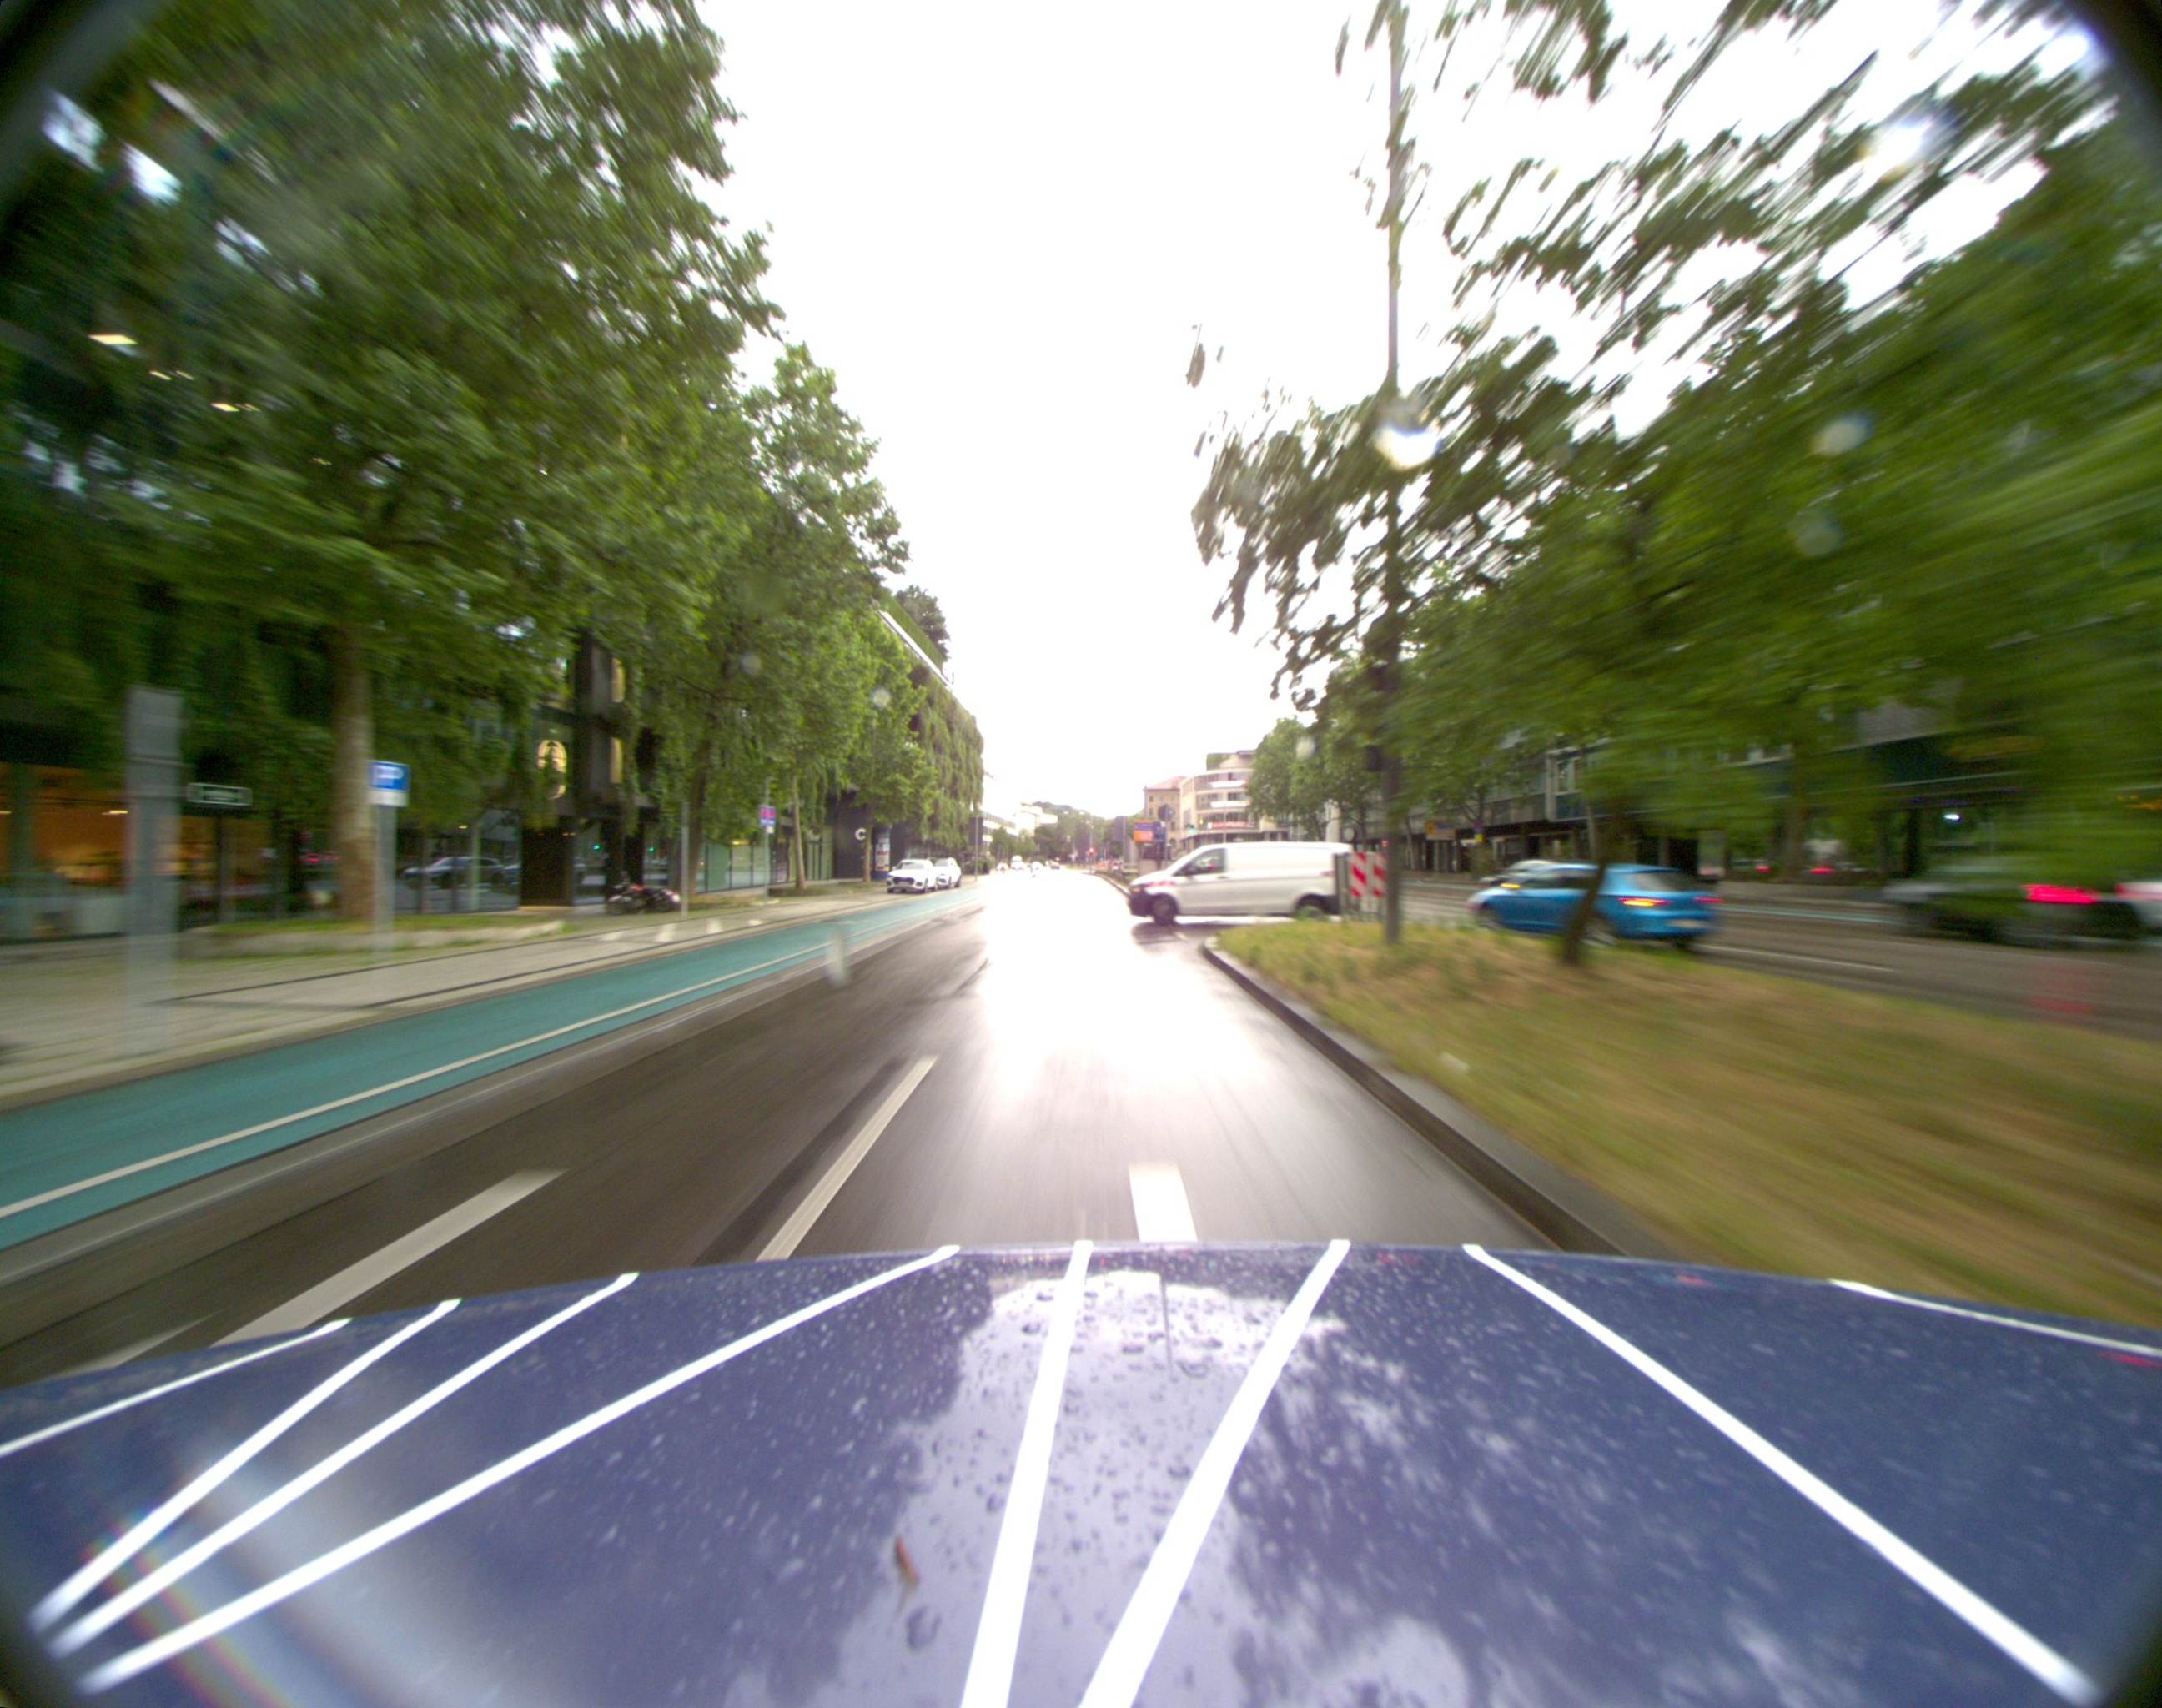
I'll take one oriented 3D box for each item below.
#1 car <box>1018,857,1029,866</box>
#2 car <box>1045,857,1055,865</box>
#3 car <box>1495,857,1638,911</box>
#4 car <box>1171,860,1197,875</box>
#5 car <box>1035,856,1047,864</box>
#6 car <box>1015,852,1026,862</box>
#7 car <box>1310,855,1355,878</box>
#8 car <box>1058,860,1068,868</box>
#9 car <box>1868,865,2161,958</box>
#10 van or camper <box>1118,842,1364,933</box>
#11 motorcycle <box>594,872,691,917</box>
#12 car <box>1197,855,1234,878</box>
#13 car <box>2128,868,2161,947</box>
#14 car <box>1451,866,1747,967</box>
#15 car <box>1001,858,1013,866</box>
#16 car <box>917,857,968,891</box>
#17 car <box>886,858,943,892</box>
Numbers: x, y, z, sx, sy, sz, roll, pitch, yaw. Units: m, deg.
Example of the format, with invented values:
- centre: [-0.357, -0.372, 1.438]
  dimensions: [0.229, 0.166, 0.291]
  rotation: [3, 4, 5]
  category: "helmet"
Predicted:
- centre: [-10.981, 1.419, 146.367]
  dimensions: [1.739, 1.543, 4.671]
  rotation: [0, 0, 1]
  category: "car"
- centre: [-5.763, 1.294, 142.563]
  dimensions: [1.739, 1.543, 4.671]
  rotation: [0, 0, 1]
  category: "car"
- centre: [14.513, 0.831, 23.013]
  dimensions: [1.754, 1.467, 4.096]
  rotation: [0, 0, 1]
  category: "car"
- centre: [10.210, 1.360, 75.679]
  dimensions: [1.848, 1.442, 4.917]
  rotation: [0, -1, 0]
  category: "car"
- centre: [-7.728, 1.186, 146.581]
  dimensions: [1.979, 1.543, 4.671]
  rotation: [0, 0, 1]
  category: "car"
- centre: [-12.514, 0.669, 157.827]
  dimensions: [1.998, 2.001, 4.000]
  rotation: [0, 0, 0]
  category: "car"
- centre: [17.223, 0.846, 52.256]
  dimensions: [1.757, 1.556, 4.000]
  rotation: [0, 0, -1]
  category: "car"
- centre: [-3.485, 1.920, 144.172]
  dimensions: [1.739, 1.543, 4.671]
  rotation: [0, 0, 0]
  category: "car"
- centre: [15.809, 0.901, 12.909]
  dimensions: [1.723, 1.359, 3.048]
  rotation: [-1, -1, 2]
  category: "car"
- centre: [3.632, 0.739, 17.569]
  dimensions: [5.241, 1.902, 2.002]
  rotation: [0, 0, 14]
  category: "van or camper"
- centre: [-13.389, 1.217, 23.267]
  dimensions: [2.313, 1.263, 1.052]
  rotation: [-2, 0, -1]
  category: "motorcycle"
- centre: [10.435, 0.956, 59.337]
  dimensions: [1.840, 1.756, 5.108]
  rotation: [0, -1, -2]
  category: "car"
- centre: [19.487, 0.895, 11.234]
  dimensions: [1.563, 1.345, 4.683]
  rotation: [-1, -1, 0]
  category: "car"
- centre: [8.932, 0.992, 13.679]
  dimensions: [1.849, 1.473, 4.393]
  rotation: [-1, -1, -10]
  category: "car"
- centre: [-13.984, 1.505, 144.507]
  dimensions: [1.739, 1.543, 4.671]
  rotation: [0, 0, 1]
  category: "car"
- centre: [-8.076, 1.123, 44.707]
  dimensions: [1.848, 1.827, 5.094]
  rotation: [0, 0, 2]
  category: "car"
- centre: [-8.339, 1.040, 38.519]
  dimensions: [1.848, 1.623, 4.787]
  rotation: [0, -1, 0]
  category: "car"
